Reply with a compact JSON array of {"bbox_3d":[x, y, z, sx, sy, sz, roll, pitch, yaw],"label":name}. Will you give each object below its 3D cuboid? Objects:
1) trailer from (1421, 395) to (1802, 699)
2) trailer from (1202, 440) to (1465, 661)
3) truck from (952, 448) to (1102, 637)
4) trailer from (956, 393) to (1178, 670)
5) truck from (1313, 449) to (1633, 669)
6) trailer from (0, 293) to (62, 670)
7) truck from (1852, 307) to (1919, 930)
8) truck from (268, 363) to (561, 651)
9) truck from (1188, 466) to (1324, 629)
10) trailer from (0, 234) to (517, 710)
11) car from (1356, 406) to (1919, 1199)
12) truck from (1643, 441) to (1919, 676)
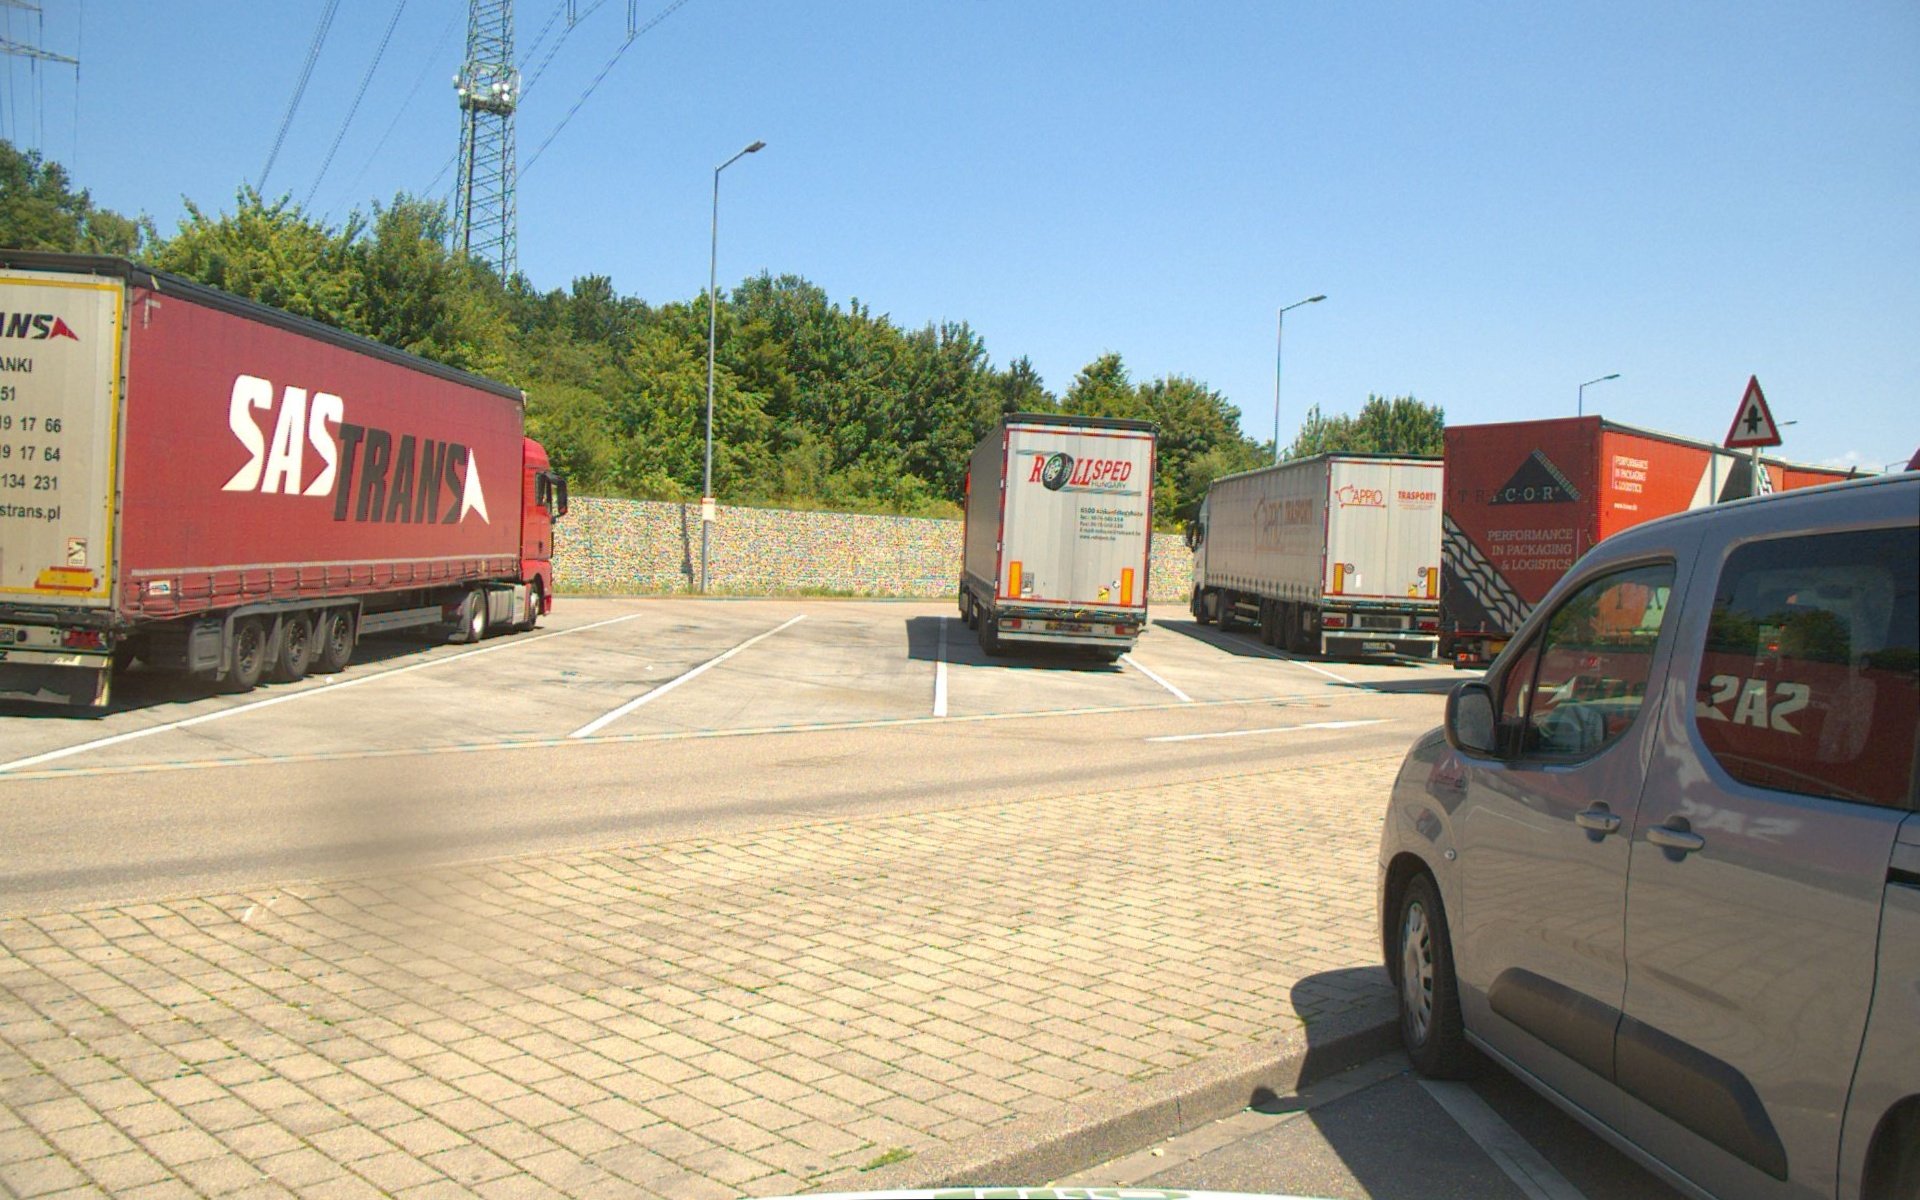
[{"bbox_3d":[11.135,-0.803,27.672,2.795,4.332,8.624,2,1,44],"label":"trailer"},{"bbox_3d":[8.192,-1.091,38.626,2.818,4.196,13.569,1,1,-1],"label":"trailer"},{"bbox_3d":[1.453,-1.385,39.459,2.965,3.997,6.845,2,2,-2],"label":"truck"},{"bbox_3d":[1.687,-1.319,32.693,3.008,4.301,12.805,2,2,-2],"label":"trailer"},{"bbox_3d":[11.703,-0.961,40.011,2.846,4.195,14.525,3,1,-1],"label":"truck"},{"bbox_3d":[-12.417,-1.313,15.459,2.689,4.337,9.733,1,1,0],"label":"trailer"},{"bbox_3d":[4.974,0.129,4.953,1.952,2.669,5.305,1,1,3],"label":"truck"},{"bbox_3d":[-8.786,-1.425,27.551,2.687,4.152,6.828,1,1,-1],"label":"truck"},{"bbox_3d":[8.057,-1.417,45.625,2.701,4.196,5.283,1,1,-1],"label":"truck"},{"bbox_3d":[-8.689,-1.262,21.028,2.694,4.128,13.284,1,1,-1],"label":"trailer"},{"bbox_3d":[2.427,0.556,3.831,1.790,1.784,3.997,1,1,-4],"label":"car"},{"bbox_3d":[18.120,-0.780,33.884,10.491,4.199,2.659,0,1,-37],"label":"truck"}]
